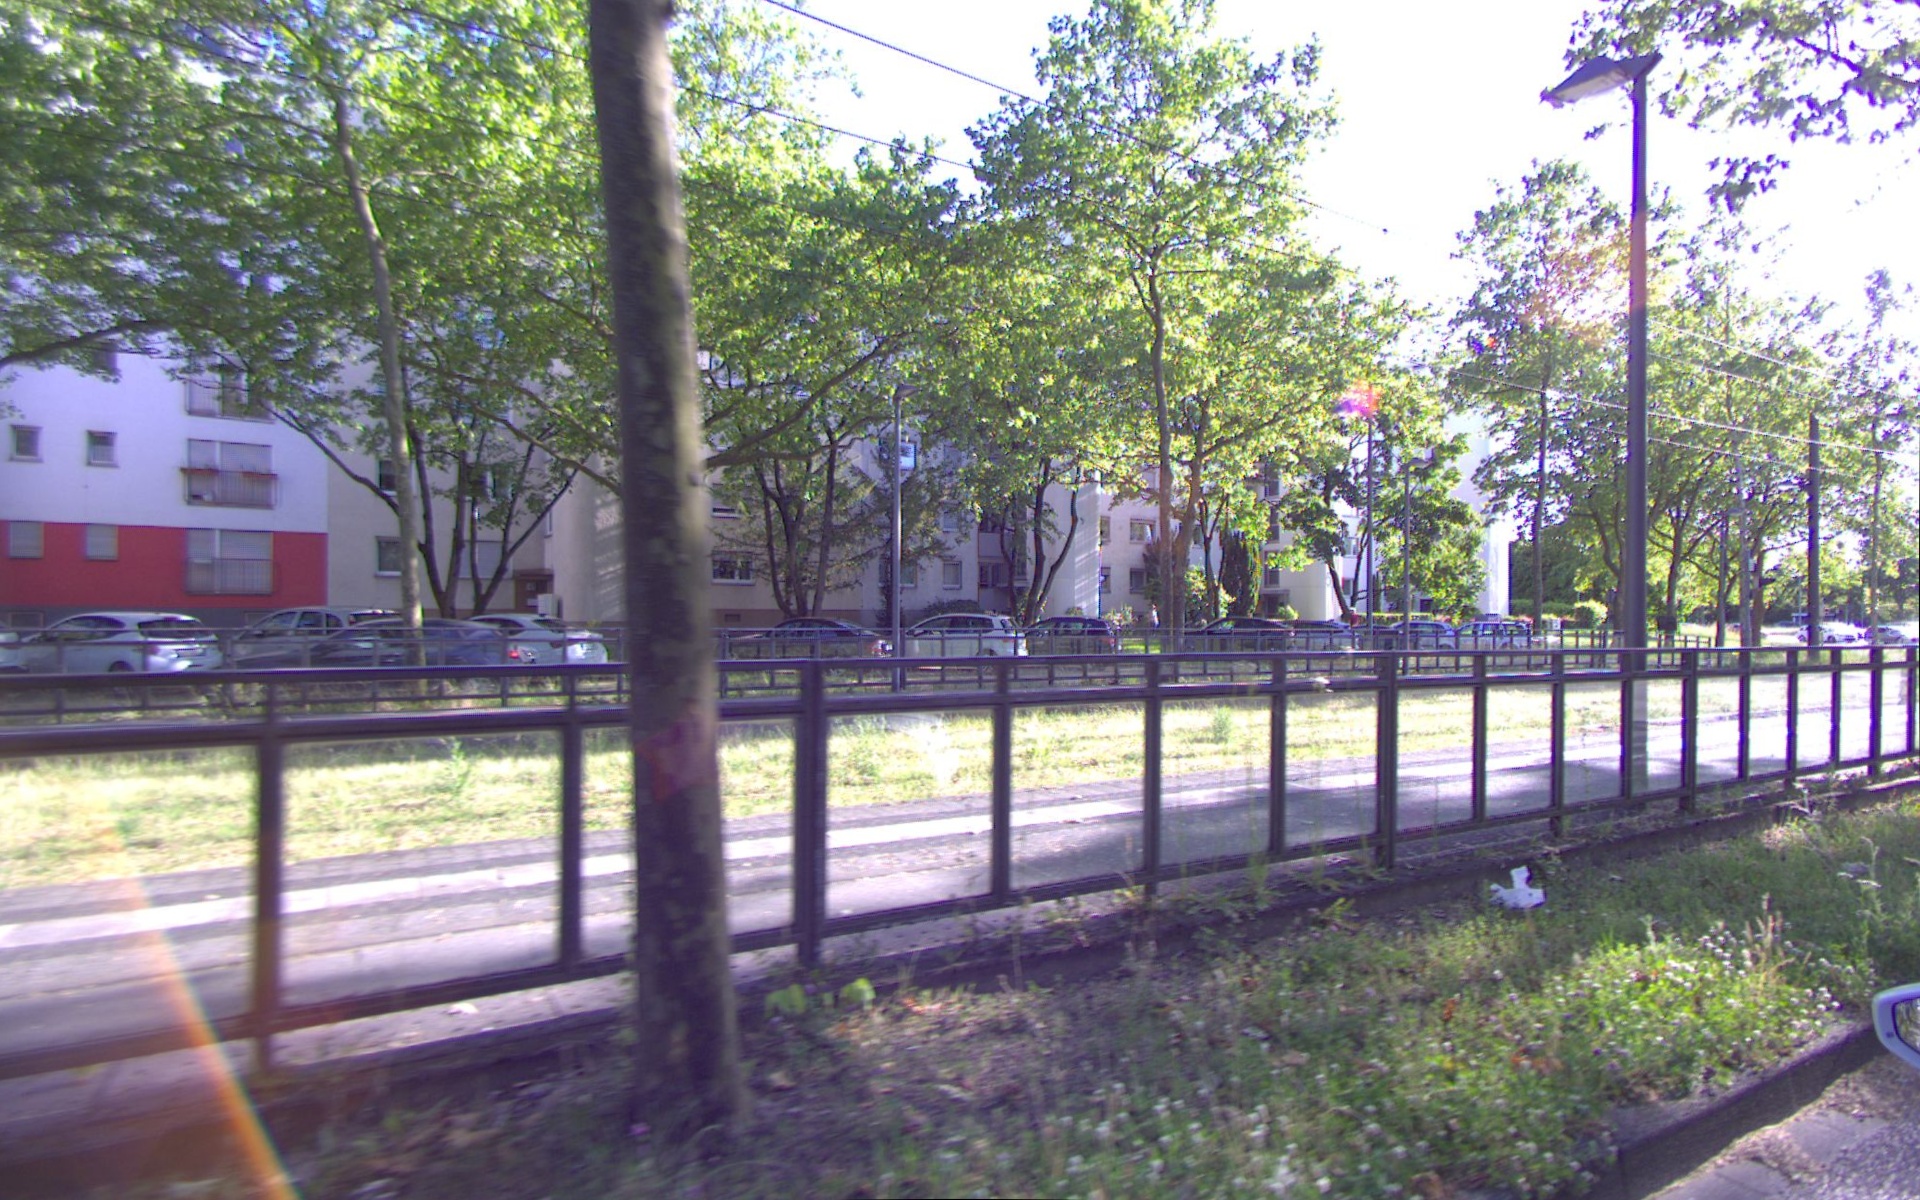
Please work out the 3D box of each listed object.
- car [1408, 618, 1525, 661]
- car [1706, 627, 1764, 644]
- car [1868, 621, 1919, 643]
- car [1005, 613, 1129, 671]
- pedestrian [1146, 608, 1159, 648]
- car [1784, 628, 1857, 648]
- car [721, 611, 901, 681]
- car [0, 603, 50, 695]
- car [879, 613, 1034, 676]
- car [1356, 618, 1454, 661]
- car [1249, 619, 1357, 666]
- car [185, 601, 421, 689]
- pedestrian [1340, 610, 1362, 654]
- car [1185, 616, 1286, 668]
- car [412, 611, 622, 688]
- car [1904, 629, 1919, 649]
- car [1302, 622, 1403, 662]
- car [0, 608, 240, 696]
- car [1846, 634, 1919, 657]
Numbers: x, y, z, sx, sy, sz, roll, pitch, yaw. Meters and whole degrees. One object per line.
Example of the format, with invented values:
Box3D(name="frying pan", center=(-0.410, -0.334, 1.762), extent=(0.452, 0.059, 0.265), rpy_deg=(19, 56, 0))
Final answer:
Box3D(name="car", center=(19.864, 1.534, 39.561), extent=(3.842, 1.496, 1.632), rpy_deg=(2, 0, 17))
Box3D(name="car", center=(71.269, 3.226, 92.464), extent=(1.783, 1.455, 4.040), rpy_deg=(-2, -1, -11))
Box3D(name="car", center=(76.177, 2.567, 80.748), extent=(1.866, 1.632, 4.491), rpy_deg=(-2, -1, -11))
Box3D(name="car", center=(3.125, 1.186, 29.408), extent=(3.321, 1.529, 1.463), rpy_deg=(1, 1, 27))
Box3D(name="pedestrian", center=(8.948, 1.298, 46.697), extent=(0.446, 1.816, 0.315), rpy_deg=(1, 0, -37))
Box3D(name="car", center=(72.690, 3.202, 84.940), extent=(1.866, 1.632, 4.491), rpy_deg=(0, -1, -11))
Box3D(name="car", center=(-3.666, 1.101, 24.911), extent=(4.090, 1.565, 1.647), rpy_deg=(1, 1, 11))
Box3D(name="car", center=(-18.190, 0.802, 16.979), extent=(4.408, 1.524, 1.901), rpy_deg=(1, 1, 11))
Box3D(name="car", center=(-0.075, 1.168, 27.421), extent=(3.914, 1.565, 1.646), rpy_deg=(1, 1, 18))
Box3D(name="car", center=(16.795, 1.479, 38.041), extent=(3.221, 1.450, 1.571), rpy_deg=(2, 0, 17))
Box3D(name="car", center=(11.635, 1.413, 34.286), extent=(3.316, 1.445, 1.541), rpy_deg=(1, 0, 13))
Box3D(name="car", center=(-13.120, 0.846, 20.132), extent=(3.977, 1.590, 1.576), rpy_deg=(1, 1, 11))
Box3D(name="pedestrian", center=(16.050, 1.312, 41.195), extent=(0.709, 1.816, 0.473), rpy_deg=(1, 0, -32))
Box3D(name="car", center=(8.888, 1.330, 32.585), extent=(3.075, 1.568, 1.466), rpy_deg=(1, 1, 13))
Box3D(name="car", center=(-9.557, 1.035, 21.749), extent=(3.977, 1.493, 1.577), rpy_deg=(1, 1, 11))
Box3D(name="car", center=(81.938, 3.295, 84.060), extent=(1.867, 1.642, 3.992), rpy_deg=(1, -1, -11))
Box3D(name="car", center=(14.145, 1.509, 36.319), extent=(3.317, 1.270, 1.465), rpy_deg=(2, 0, 20))
Box3D(name="car", center=(-15.672, 0.912, 18.544), extent=(3.977, 1.452, 1.577), rpy_deg=(1, 1, 11))
Box3D(name="car", center=(73.024, 3.590, 79.221), extent=(1.866, 1.632, 4.491), rpy_deg=(-2, -1, -11))
